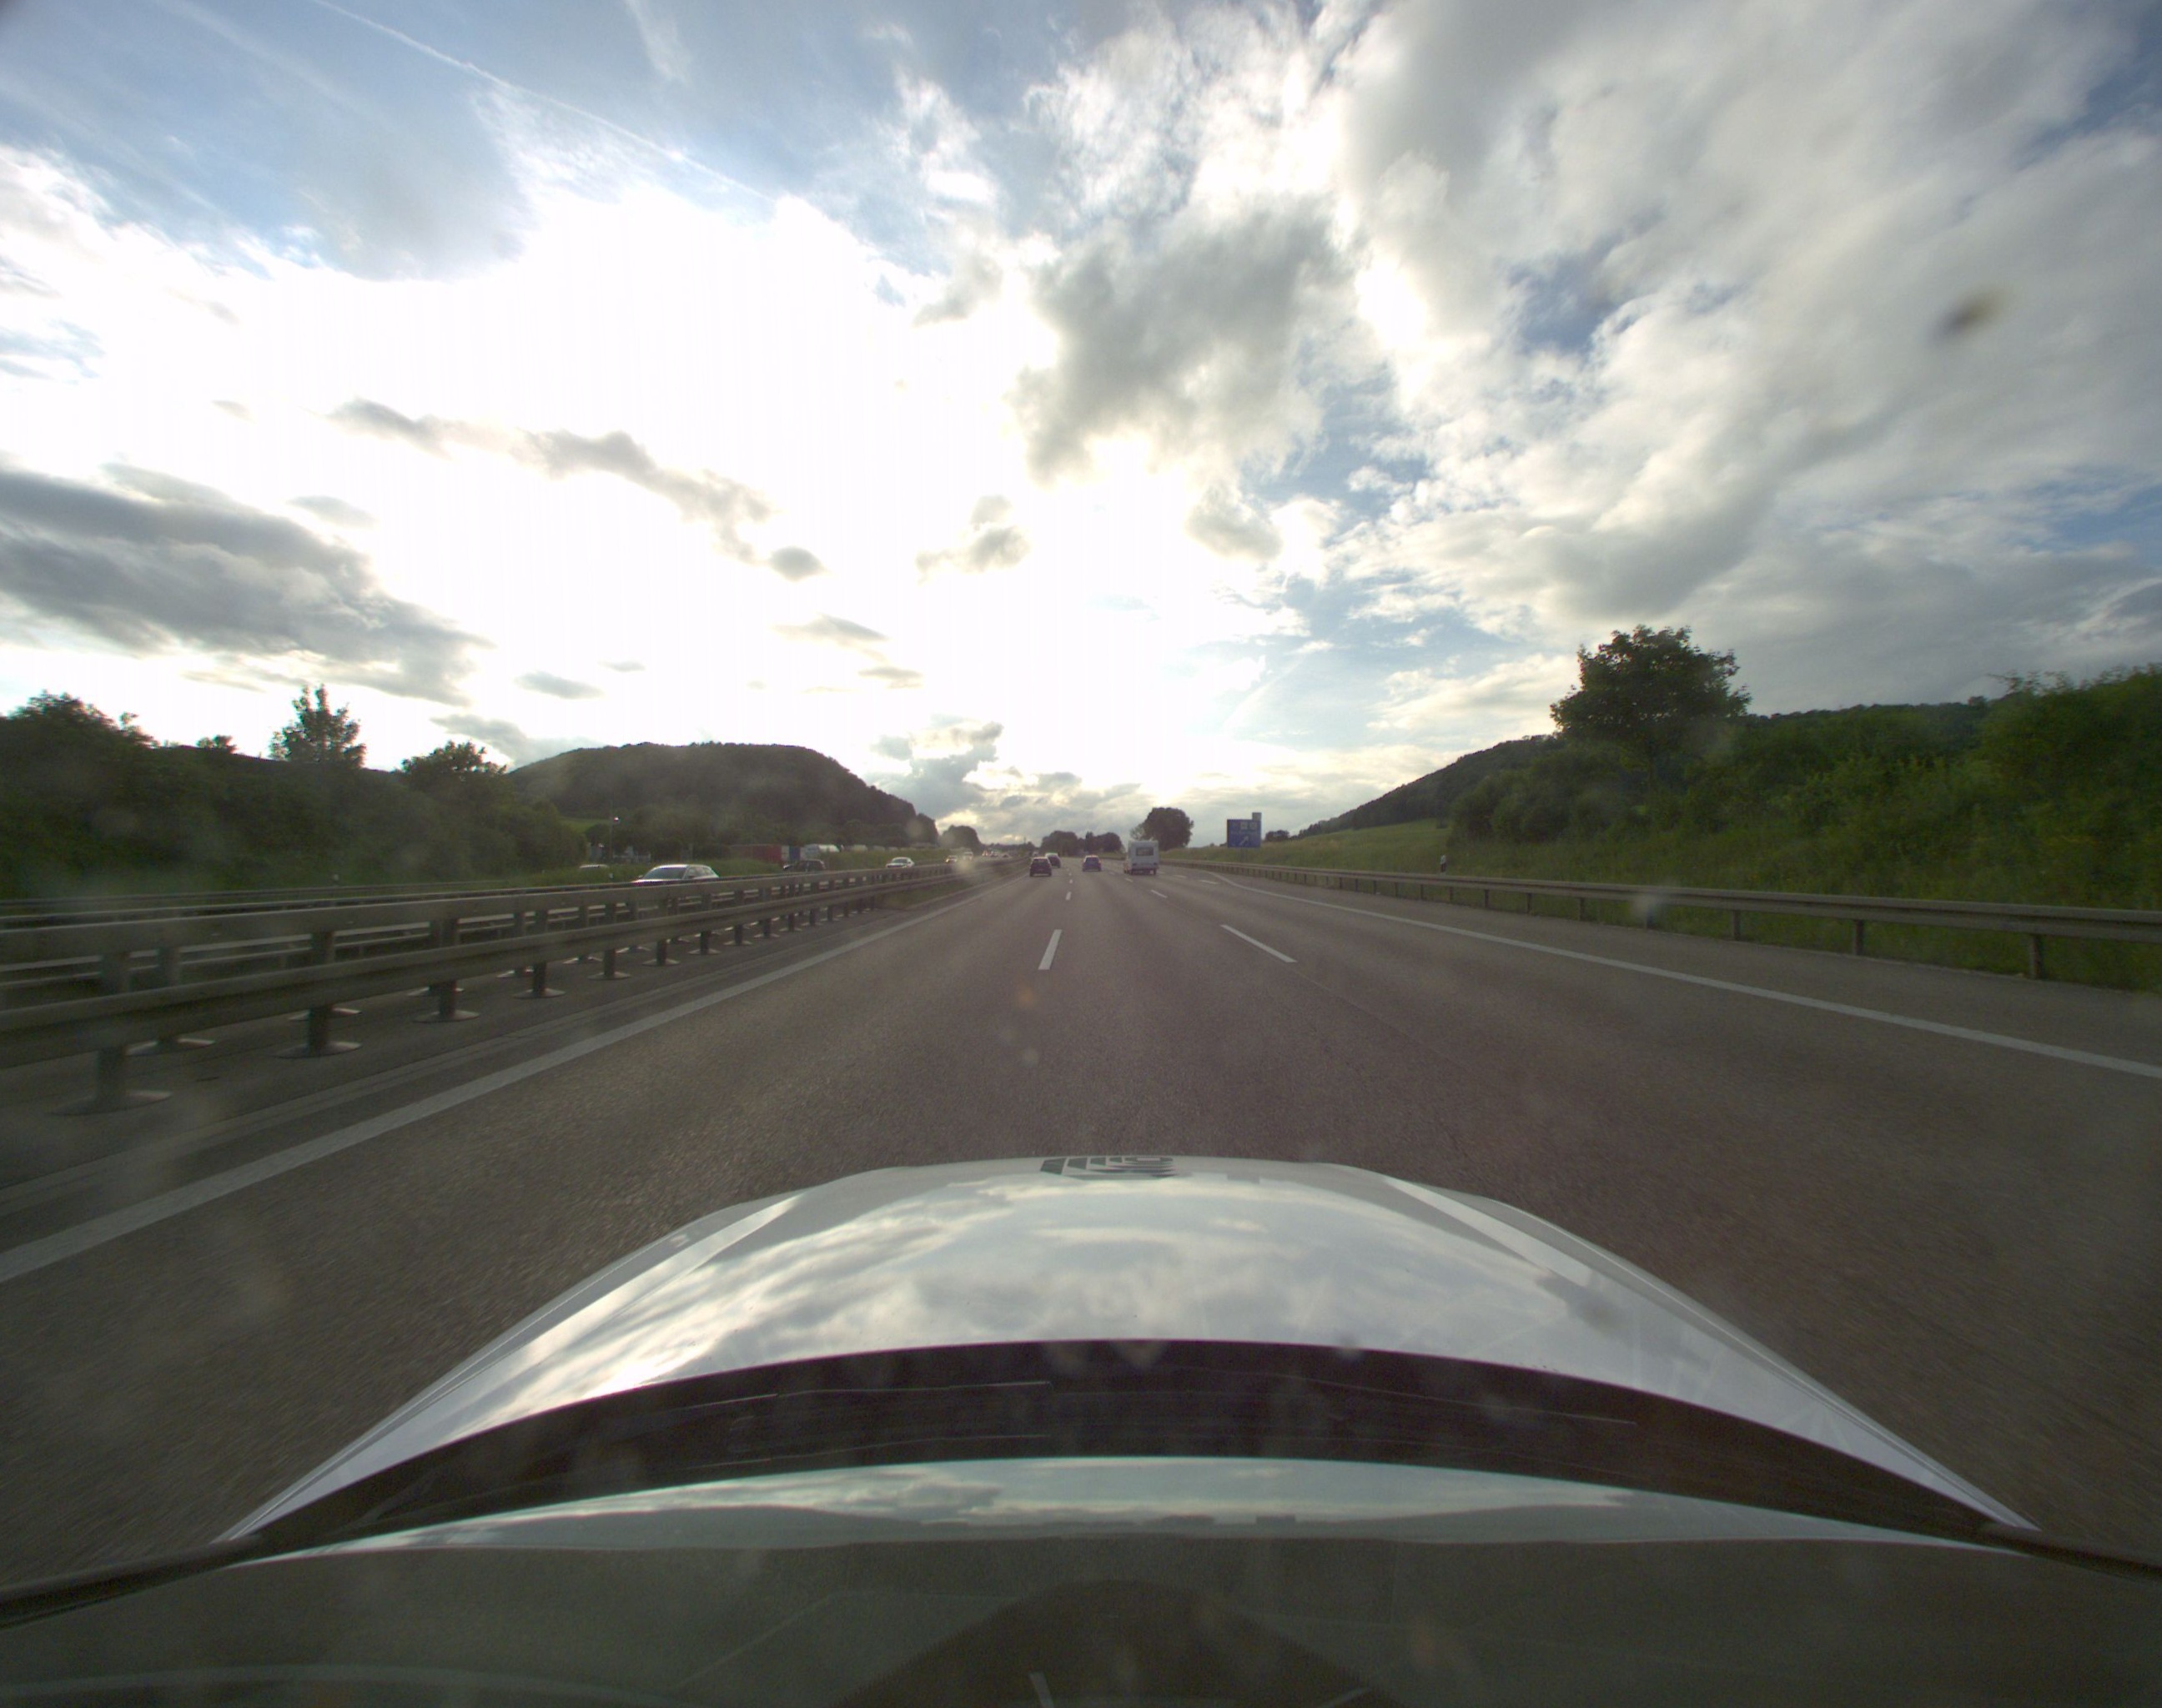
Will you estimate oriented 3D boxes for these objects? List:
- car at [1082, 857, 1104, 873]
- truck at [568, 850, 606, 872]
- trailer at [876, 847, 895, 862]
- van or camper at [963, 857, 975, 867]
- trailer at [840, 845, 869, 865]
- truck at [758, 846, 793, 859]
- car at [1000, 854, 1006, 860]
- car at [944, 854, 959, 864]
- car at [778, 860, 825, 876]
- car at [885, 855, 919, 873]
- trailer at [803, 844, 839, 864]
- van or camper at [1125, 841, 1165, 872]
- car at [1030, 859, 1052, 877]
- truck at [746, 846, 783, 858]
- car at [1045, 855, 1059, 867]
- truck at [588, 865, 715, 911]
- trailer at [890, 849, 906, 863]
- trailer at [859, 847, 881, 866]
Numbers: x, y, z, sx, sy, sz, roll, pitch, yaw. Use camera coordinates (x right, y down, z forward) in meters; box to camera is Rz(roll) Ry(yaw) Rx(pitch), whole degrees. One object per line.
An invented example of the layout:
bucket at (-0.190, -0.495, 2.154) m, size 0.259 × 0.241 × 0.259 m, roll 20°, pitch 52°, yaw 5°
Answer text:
car at (1.111, 1.047, 76.929) m, size 1.763 × 1.433 × 3.995 m, roll -2°, pitch -1°, yaw -3°
truck at (-94.342, 1.406, 155.477) m, size 11.233 × 3.857 × 2.603 m, roll -2°, pitch -2°, yaw 40°
trailer at (-47.552, 0.135, 198.447) m, size 2.872 × 3.696 × 10.354 m, roll -2°, pitch 0°, yaw -5°
van or camper at (-21.944, 1.502, 159.769) m, size 1.911 × 1.873 × 4.750 m, roll -1°, pitch 0°, yaw -2°
trailer at (-42.981, 0.279, 155.017) m, size 2.873 × 3.696 × 13.650 m, roll -2°, pitch -1°, yaw -5°
truck at (-56.618, -0.269, 150.948) m, size 7.214 × 2.226 × 2.919 m, roll -1°, pitch 0°, yaw 39°
car at (-23.916, 0.984, 250.246) m, size 1.803 × 1.614 × 4.335 m, roll 0°, pitch -1°, yaw -3°
car at (-20.518, 0.837, 129.485) m, size 1.990 × 1.497 × 4.684 m, roll -1°, pitch 0°, yaw -5°
car at (-30.189, 1.518, 88.112) m, size 4.608 × 1.551 × 1.992 m, roll -2°, pitch 0°, yaw -13°
car at (-16.132, 0.893, 73.665) m, size 1.988 × 1.497 × 4.689 m, roll -3°, pitch -1°, yaw -1°
trailer at (-41.601, 0.130, 130.713) m, size 2.574 × 2.854 × 12.242 m, roll 0°, pitch -1°, yaw -4°
van or camper at (4.799, 0.257, 62.178) m, size 2.540 × 2.239 × 5.327 m, roll -1°, pitch -1°, yaw -1°
car at (-3.051, 1.093, 63.047) m, size 1.533 × 1.348 × 3.676 m, roll -1°, pitch -1°, yaw 0°
truck at (-56.561, -0.346, 145.317) m, size 7.214 × 2.014 × 2.918 m, roll -2°, pitch -2°, yaw 39°
car at (-3.456, 0.772, 96.397) m, size 1.561 × 1.380 × 3.996 m, roll -1°, pitch 0°, yaw -3°
truck at (-14.617, 1.103, 28.087) m, size 1.988 × 1.365 × 4.643 m, roll -1°, pitch 0°, yaw -2°
trailer at (-49.536, 0.450, 220.894) m, size 2.872 × 3.696 × 10.354 m, roll -2°, pitch 0°, yaw -5°
trailer at (-45.822, 0.613, 177.314) m, size 2.875 × 3.696 × 13.639 m, roll -2°, pitch -1°, yaw -7°
